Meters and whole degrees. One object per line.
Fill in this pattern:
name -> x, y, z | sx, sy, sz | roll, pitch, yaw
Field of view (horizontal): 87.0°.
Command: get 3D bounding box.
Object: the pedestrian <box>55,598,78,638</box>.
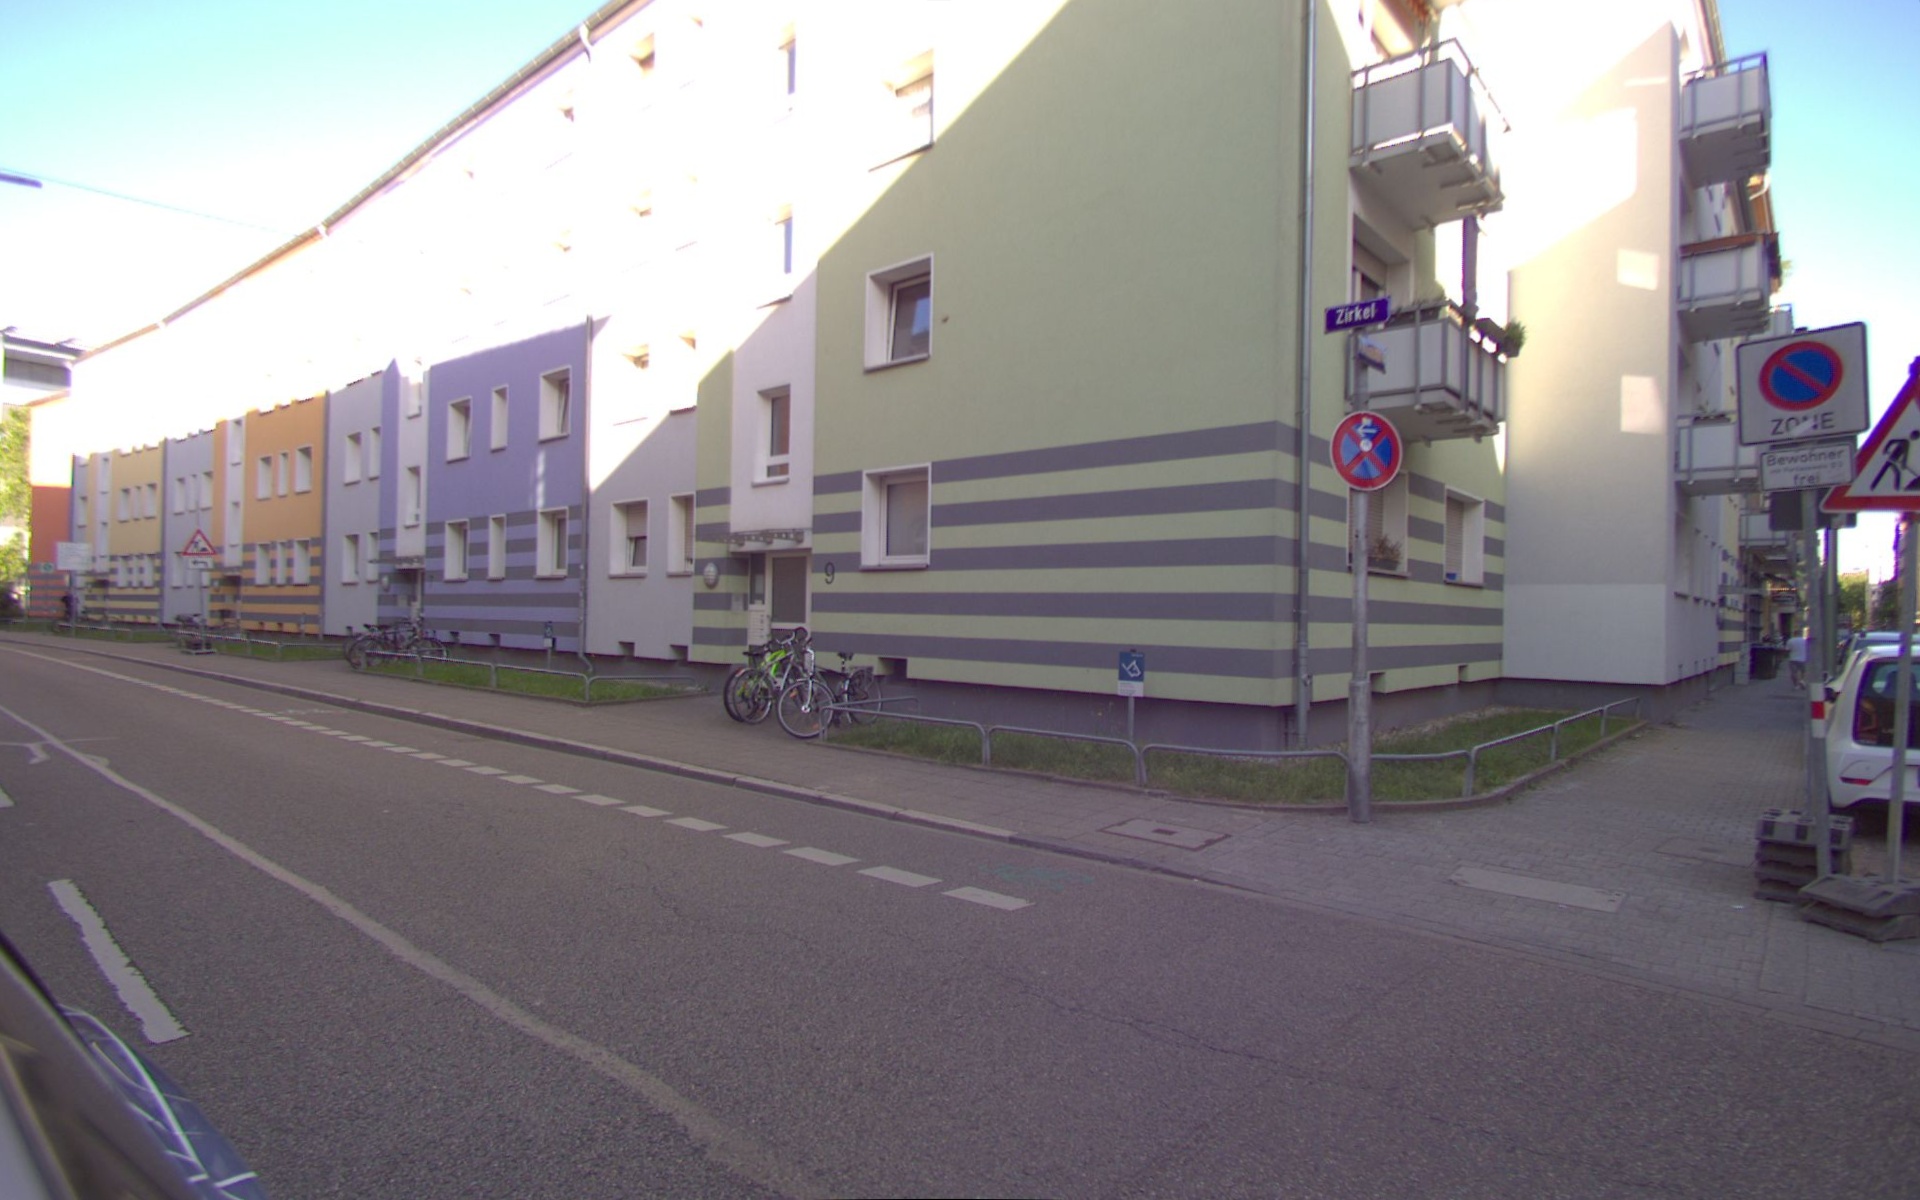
pedestrian -> -37.304, 0.740, 42.272 | 0.447, 1.663, 0.605 | 0, -1, 36

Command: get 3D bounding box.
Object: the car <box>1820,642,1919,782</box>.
car -> 11.527, 1.251, 12.174 | 1.758, 1.408, 4.270 | 0, -1, 40

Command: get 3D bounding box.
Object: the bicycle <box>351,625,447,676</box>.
bicycle -> -12.223, 1.086, 22.080 | 0.388, 0.953, 1.779 | 0, 2, 41

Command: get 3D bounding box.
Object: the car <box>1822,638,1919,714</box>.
car -> 18.293, 1.459, 20.258 | 1.485, 1.400, 3.360 | -2, -3, 39

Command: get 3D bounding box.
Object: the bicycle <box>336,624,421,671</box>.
bicycle -> -13.361, 1.069, 23.301 | 0.388, 0.953, 1.636 | 0, 2, 41

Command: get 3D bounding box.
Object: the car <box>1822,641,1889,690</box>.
car -> 25.536, 1.835, 28.837 | 1.259, 1.300, 3.039 | -2, -3, 44

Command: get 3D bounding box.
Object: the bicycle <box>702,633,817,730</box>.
bicycle -> -2.662, 1.055, 13.631 | 0.387, 1.109, 1.719 | 0, 2, 34

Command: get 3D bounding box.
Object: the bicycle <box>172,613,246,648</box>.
bicycle -> -24.264, 0.982, 32.709 | 0.653, 0.990, 1.786 | 0, 3, 38

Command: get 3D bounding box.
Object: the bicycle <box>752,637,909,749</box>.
bicycle -> -1.519, 1.067, 12.144 | 0.749, 1.109, 1.797 | 0, 2, 41

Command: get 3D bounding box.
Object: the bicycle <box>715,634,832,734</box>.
bicycle -> -2.413, 1.062, 13.302 | 0.387, 1.109, 1.719 | 0, 2, 34

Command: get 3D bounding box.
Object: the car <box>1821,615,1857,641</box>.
car -> 53.379, 1.681, 61.464 | 1.585, 1.519, 3.846 | 0, -2, 42

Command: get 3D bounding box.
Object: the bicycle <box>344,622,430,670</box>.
bicycle -> -13.032, 1.037, 23.061 | 0.388, 0.953, 1.636 | 0, 2, 41

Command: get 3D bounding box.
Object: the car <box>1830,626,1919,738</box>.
car -> 15.336, 1.243, 16.311 | 1.757, 1.623, 4.094 | -2, -3, 38

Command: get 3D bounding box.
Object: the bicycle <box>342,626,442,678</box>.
bicycle -> -11.948, 1.080, 21.344 | 0.388, 0.953, 1.779 | 0, 2, 41

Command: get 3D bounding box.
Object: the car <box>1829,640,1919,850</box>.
car -> 8.157, 1.081, 8.142 | 1.724, 1.448, 3.299 | 0, -1, 40
